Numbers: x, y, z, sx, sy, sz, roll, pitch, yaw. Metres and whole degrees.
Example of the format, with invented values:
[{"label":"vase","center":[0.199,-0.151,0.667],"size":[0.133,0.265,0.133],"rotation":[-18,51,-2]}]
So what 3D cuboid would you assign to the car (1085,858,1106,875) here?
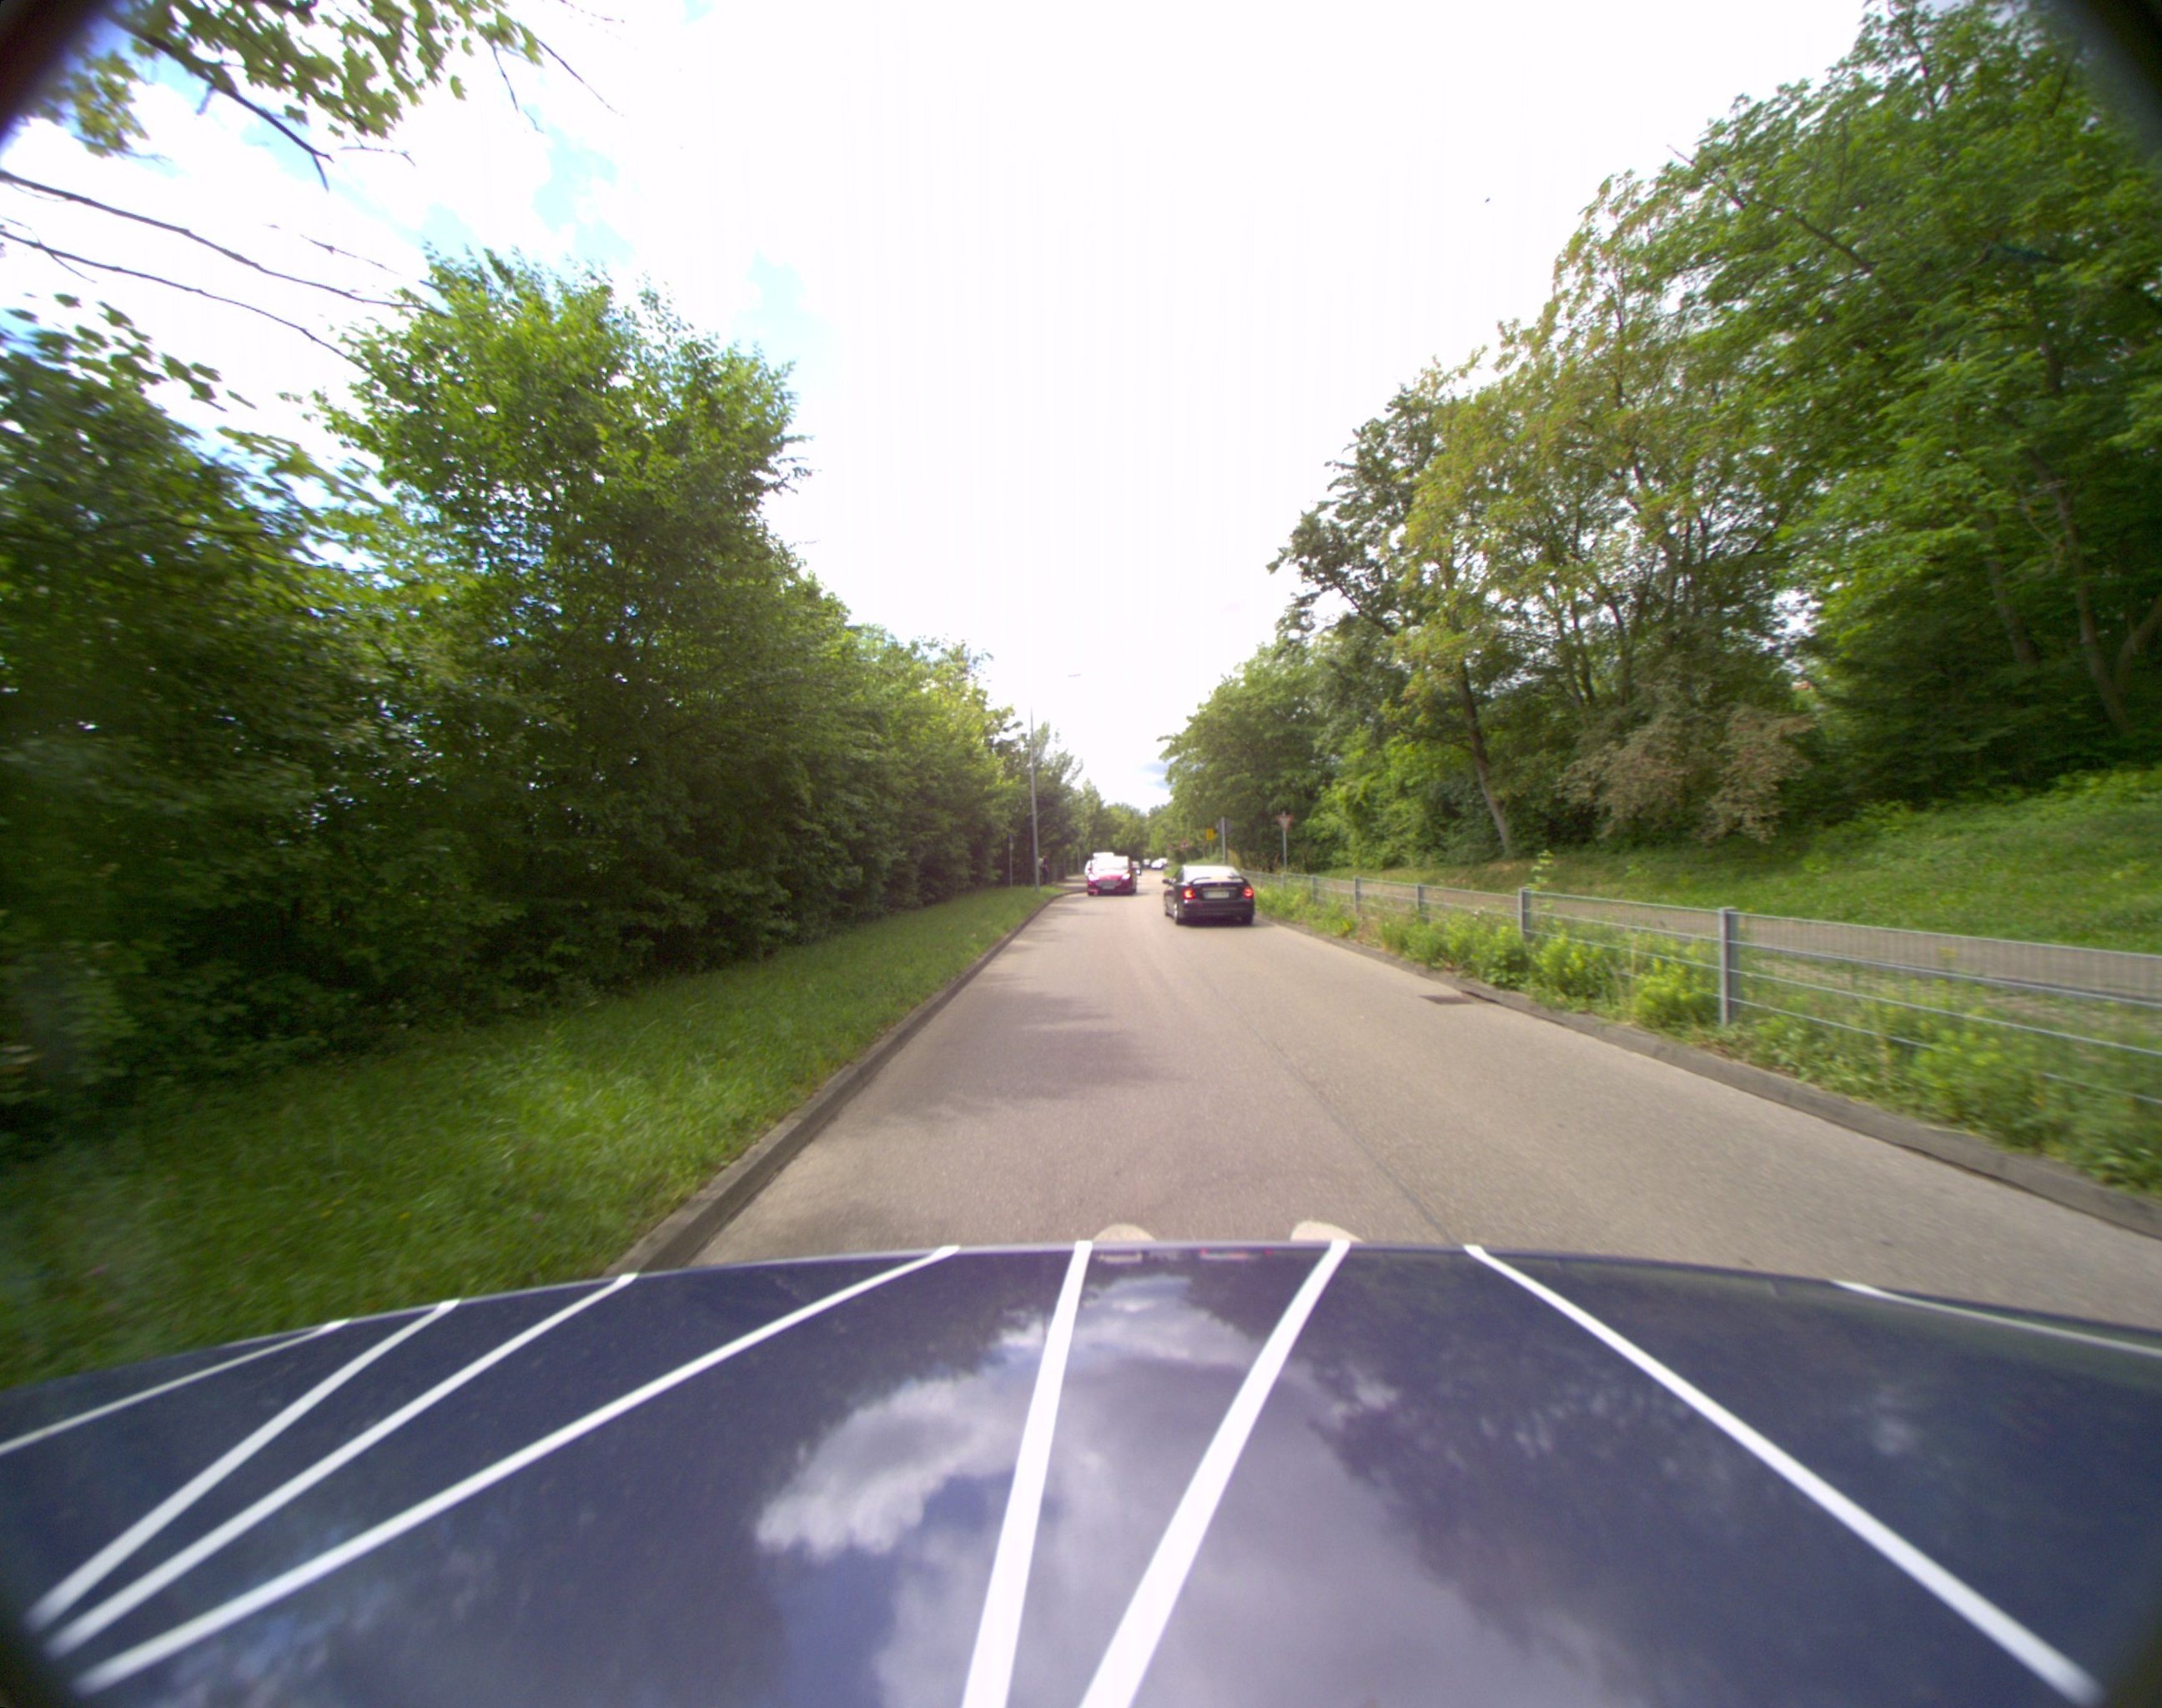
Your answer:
[{"label":"car","center":[1.414,1.154,72.559],"size":[1.808,1.590,4.373],"rotation":[0,-1,4]}]

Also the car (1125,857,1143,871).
[{"label":"car","center":[6.262,1.194,89.018],"size":[1.795,1.500,4.115],"rotation":[2,0,7]}]

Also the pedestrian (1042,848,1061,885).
[{"label":"pedestrian","center":[-1.436,0.608,36.810],"size":[0.587,1.773,0.684],"rotation":[-1,1,34]}]

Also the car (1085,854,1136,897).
[{"label":"car","center":[1.355,0.855,32.757],"size":[1.911,1.688,4.388],"rotation":[-1,0,5]}]

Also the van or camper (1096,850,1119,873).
[{"label":"van or camper","center":[3.060,0.872,86.870],"size":[2.359,2.539,5.077],"rotation":[0,0,6]}]

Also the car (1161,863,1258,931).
[{"label":"car","center":[2.905,0.921,17.903],"size":[1.697,1.341,4.095],"rotation":[-1,0,2]}]
